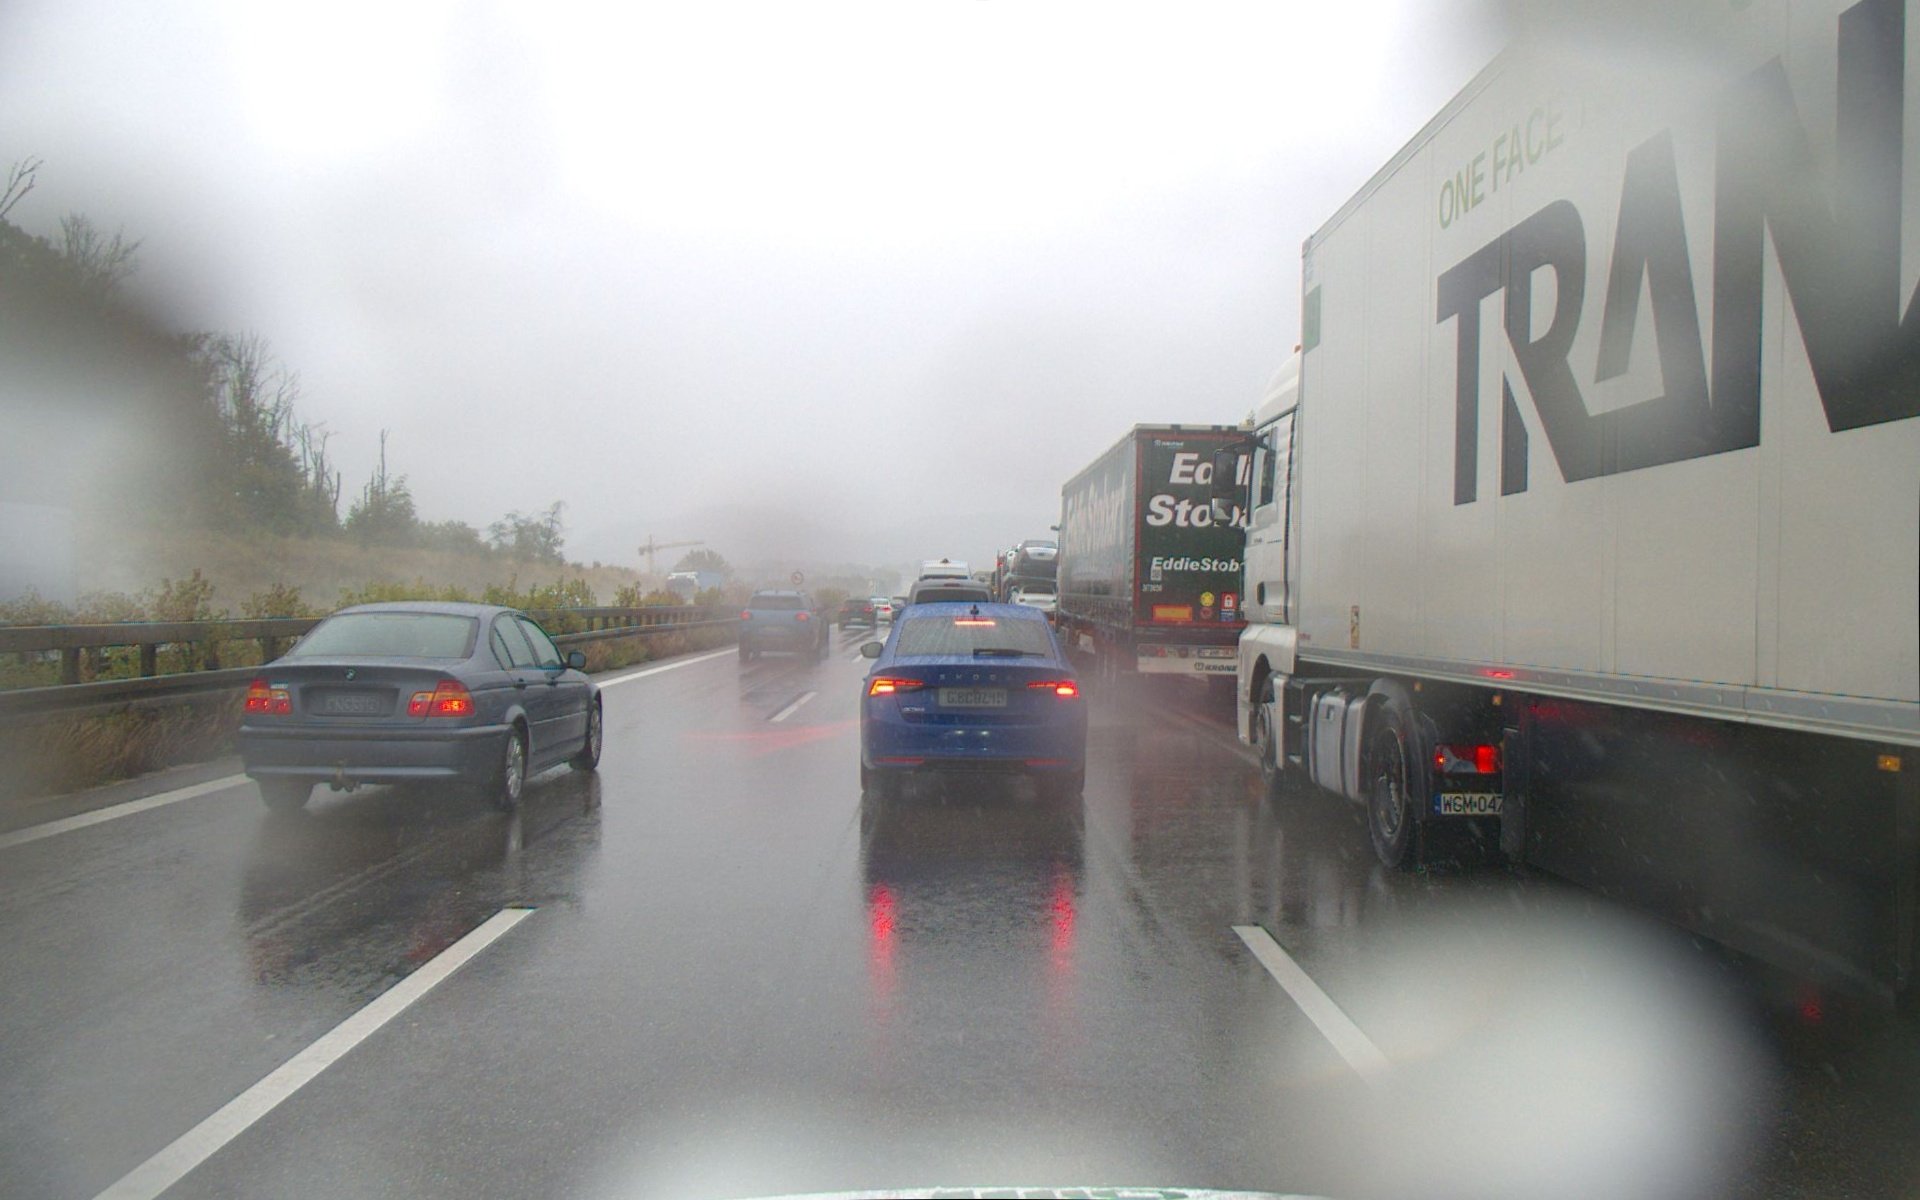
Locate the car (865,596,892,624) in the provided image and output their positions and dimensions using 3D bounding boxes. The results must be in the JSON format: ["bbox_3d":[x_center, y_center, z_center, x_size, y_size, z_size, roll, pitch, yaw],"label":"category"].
[{"bbox_3d":[-4.668,0.537,94.833,1.410,1.560,3.321,0,0,-1],"label":"car"}]

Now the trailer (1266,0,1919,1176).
[{"bbox_3d":[3.719,-0.585,5.439,2.577,4.083,14.628,0,0,-1],"label":"trailer"}]

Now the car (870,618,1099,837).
[{"bbox_3d":[0.182,0.915,13.594,1.602,1.470,4.000,0,0,0],"label":"car"}]

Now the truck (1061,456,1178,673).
[{"bbox_3d":[3.276,-0.708,34.643,2.005,4.266,4.000,0,0,-1],"label":"truck"}]

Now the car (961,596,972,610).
[{"bbox_3d":[0.863,0.380,215.058,1.419,1.815,3.409,1,0,-1],"label":"car"}]

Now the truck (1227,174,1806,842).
[{"bbox_3d":[3.653,-0.554,12.097,2.577,3.894,4.791,0,0,-1],"label":"truck"}]

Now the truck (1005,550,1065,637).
[{"bbox_3d":[3.136,-0.325,70.704,1.953,3.481,8.030,0,1,-2],"label":"truck"}]

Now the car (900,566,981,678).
[{"bbox_3d":[-0.329,0.340,28.587,1.309,1.811,3.321,0,0,-1],"label":"car"}]

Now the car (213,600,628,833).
[{"bbox_3d":[-3.783,0.724,12.408,1.682,1.424,4.230,0,0,0],"label":"car"}]

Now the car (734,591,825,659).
[{"bbox_3d":[-4.259,0.561,39.574,1.686,1.550,4.000,0,0,0],"label":"car"}]

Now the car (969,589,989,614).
[{"bbox_3d":[1.397,0.116,124.065,1.419,1.815,3.409,1,0,-1],"label":"car"}]

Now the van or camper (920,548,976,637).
[{"bbox_3d":[-0.401,-0.258,55.493,1.761,2.855,4.767,0,0,-1],"label":"van or camper"}]

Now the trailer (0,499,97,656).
[{"bbox_3d":[-20.904,-0.483,31.997,2.631,3.207,11.083,1,0,0],"label":"trailer"}]

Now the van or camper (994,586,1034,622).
[{"bbox_3d":[2.618,0.189,80.410,1.735,1.653,4.483,0,1,-1],"label":"van or camper"}]

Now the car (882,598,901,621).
[{"bbox_3d":[-5.623,0.794,136.102,1.419,1.815,3.409,1,0,-1],"label":"car"}]

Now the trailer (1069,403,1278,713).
[{"bbox_3d":[3.309,-0.627,28.466,2.005,4.249,11.447,0,0,-1],"label":"trailer"}]

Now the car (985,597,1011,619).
[{"bbox_3d":[2.460,0.525,108.106,1.605,1.351,3.366,0,1,-1],"label":"car"}]

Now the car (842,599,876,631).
[{"bbox_3d":[-4.693,0.700,77.429,1.410,1.445,3.321,0,0,-1],"label":"car"}]
